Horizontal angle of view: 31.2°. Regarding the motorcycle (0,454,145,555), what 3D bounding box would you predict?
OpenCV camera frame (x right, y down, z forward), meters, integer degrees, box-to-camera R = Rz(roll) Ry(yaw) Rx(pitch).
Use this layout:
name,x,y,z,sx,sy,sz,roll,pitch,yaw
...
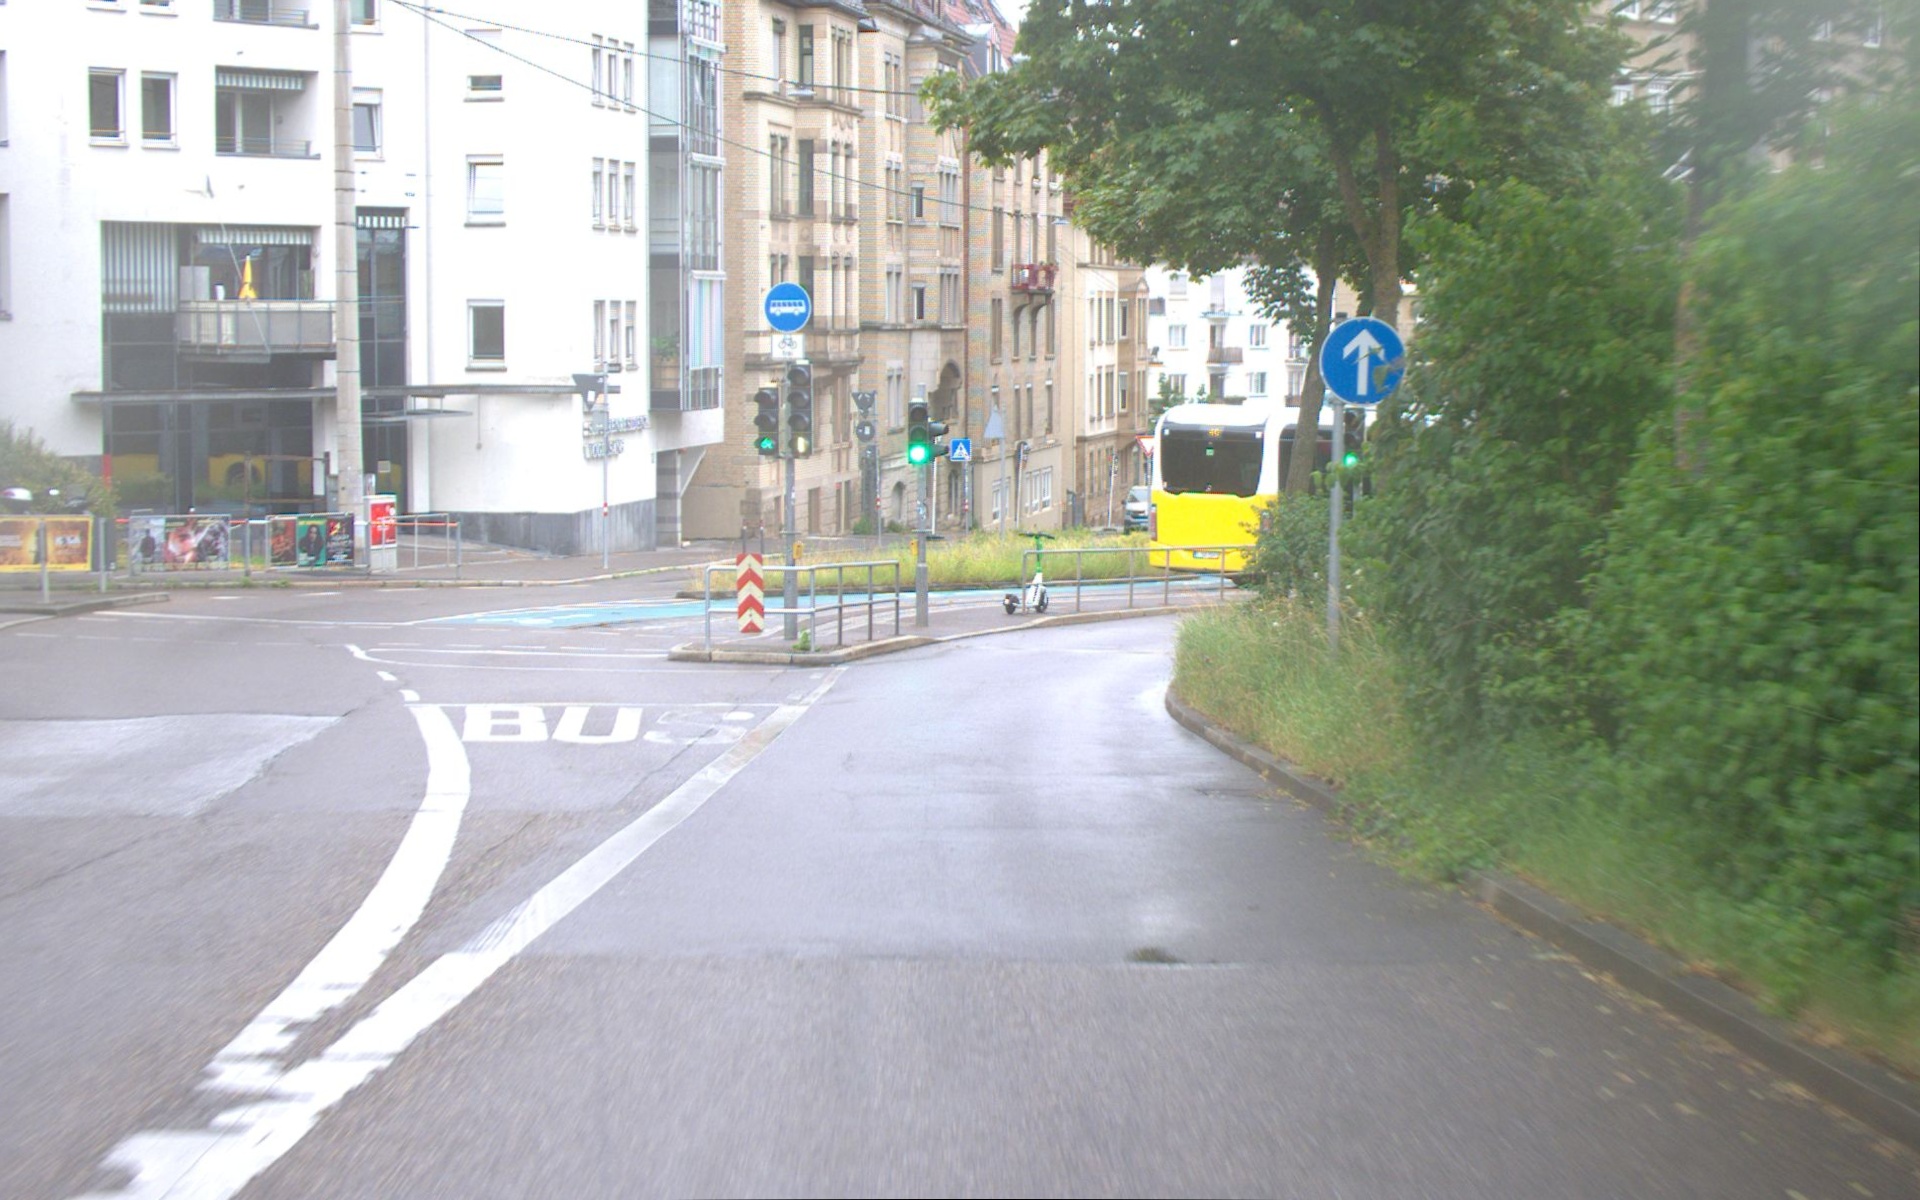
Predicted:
name,x,y,z,sx,sy,sz,roll,pitch,yaw
motorcycle,-14.453,-1.535,55.823,0.699,1.545,2.436,7,4,35

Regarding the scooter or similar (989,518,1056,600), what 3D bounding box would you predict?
name,x,y,z,sx,sy,sz,roll,pitch,yaw
scooter or similar,0.896,-0.594,48.951,0.434,1.109,1.604,3,3,19

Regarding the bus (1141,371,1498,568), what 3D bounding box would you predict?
name,x,y,z,sx,sy,sz,roll,pitch,yaw
bus,6.972,-2.395,65.187,2.596,3.457,9.089,3,2,35

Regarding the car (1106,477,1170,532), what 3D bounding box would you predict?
name,x,y,z,sx,sy,sz,roll,pitch,yaw
car,7.141,-3.837,138.190,2.137,2.129,4.858,2,2,-1
